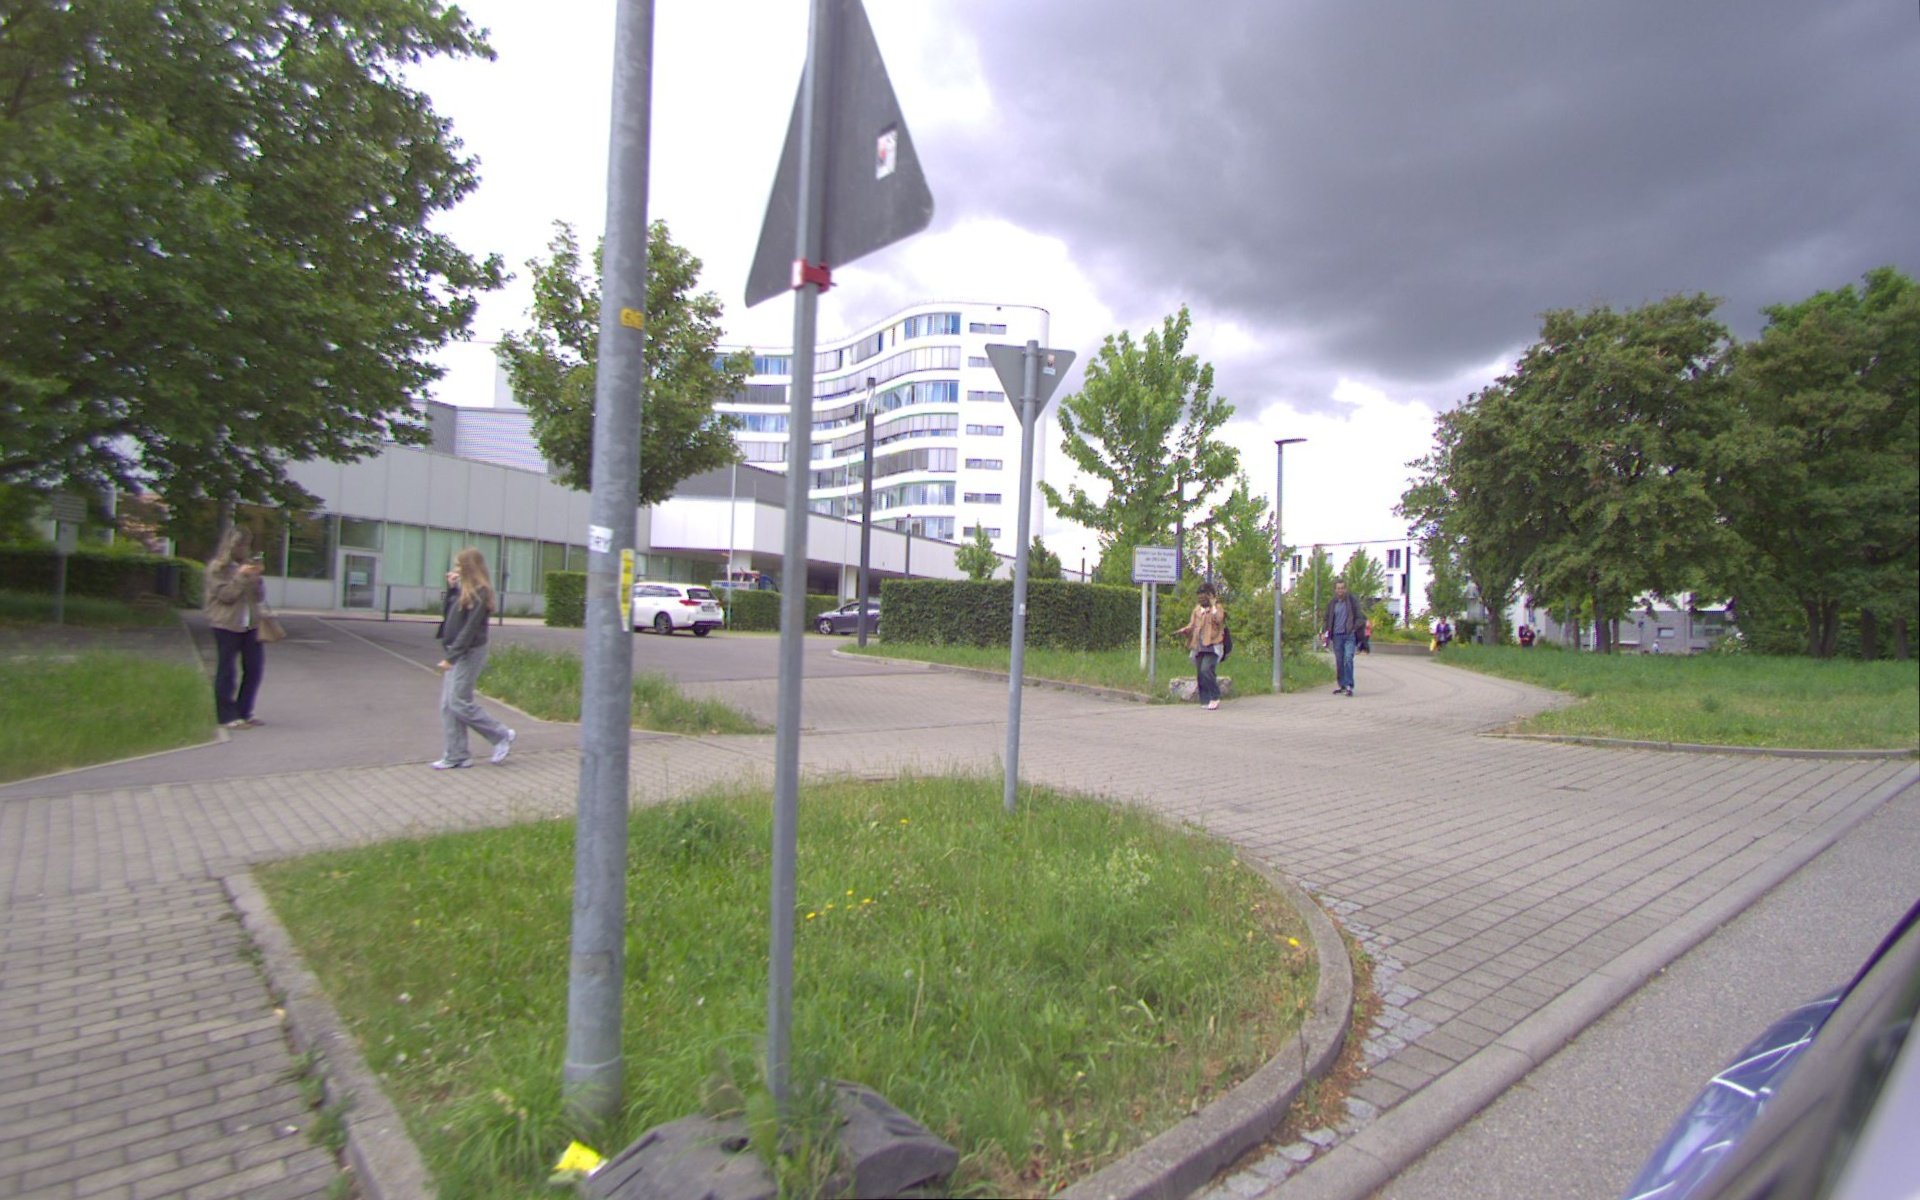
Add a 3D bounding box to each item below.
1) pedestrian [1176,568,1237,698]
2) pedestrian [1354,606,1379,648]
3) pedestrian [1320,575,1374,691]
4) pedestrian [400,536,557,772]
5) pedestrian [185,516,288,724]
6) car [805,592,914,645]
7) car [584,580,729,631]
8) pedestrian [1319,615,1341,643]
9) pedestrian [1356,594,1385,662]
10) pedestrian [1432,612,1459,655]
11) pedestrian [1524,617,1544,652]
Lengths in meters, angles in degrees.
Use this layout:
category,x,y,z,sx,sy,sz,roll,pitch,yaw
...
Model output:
category,x,y,z,sx,sy,sz,roll,pitch,yaw
pedestrian,3.341,0.433,13.670,0.645,1.690,0.890,0,-1,24
pedestrian,15.304,1.009,38.100,0.674,1.526,0.656,0,-1,45
pedestrian,6.028,0.501,15.801,0.753,1.744,0.881,0,-1,20
pedestrian,-3.613,0.381,7.601,0.915,1.641,0.688,1,-1,-39
pedestrian,-6.351,0.170,8.910,0.692,1.733,0.656,1,-1,-35
car,-4.057,0.729,40.905,3.955,2.039,1.984,0,-1,24
car,-8.866,0.157,29.510,4.081,1.408,1.692,0,-1,29
pedestrian,15.564,1.228,42.576,0.674,1.156,0.656,0,-1,45
pedestrian,10.177,0.681,25.112,0.630,1.665,0.600,0,-1,20
pedestrian,18.339,1.262,38.221,0.653,1.627,0.677,1,-1,-14
pedestrian,23.662,1.418,41.722,0.669,1.433,0.661,0,-1,28
